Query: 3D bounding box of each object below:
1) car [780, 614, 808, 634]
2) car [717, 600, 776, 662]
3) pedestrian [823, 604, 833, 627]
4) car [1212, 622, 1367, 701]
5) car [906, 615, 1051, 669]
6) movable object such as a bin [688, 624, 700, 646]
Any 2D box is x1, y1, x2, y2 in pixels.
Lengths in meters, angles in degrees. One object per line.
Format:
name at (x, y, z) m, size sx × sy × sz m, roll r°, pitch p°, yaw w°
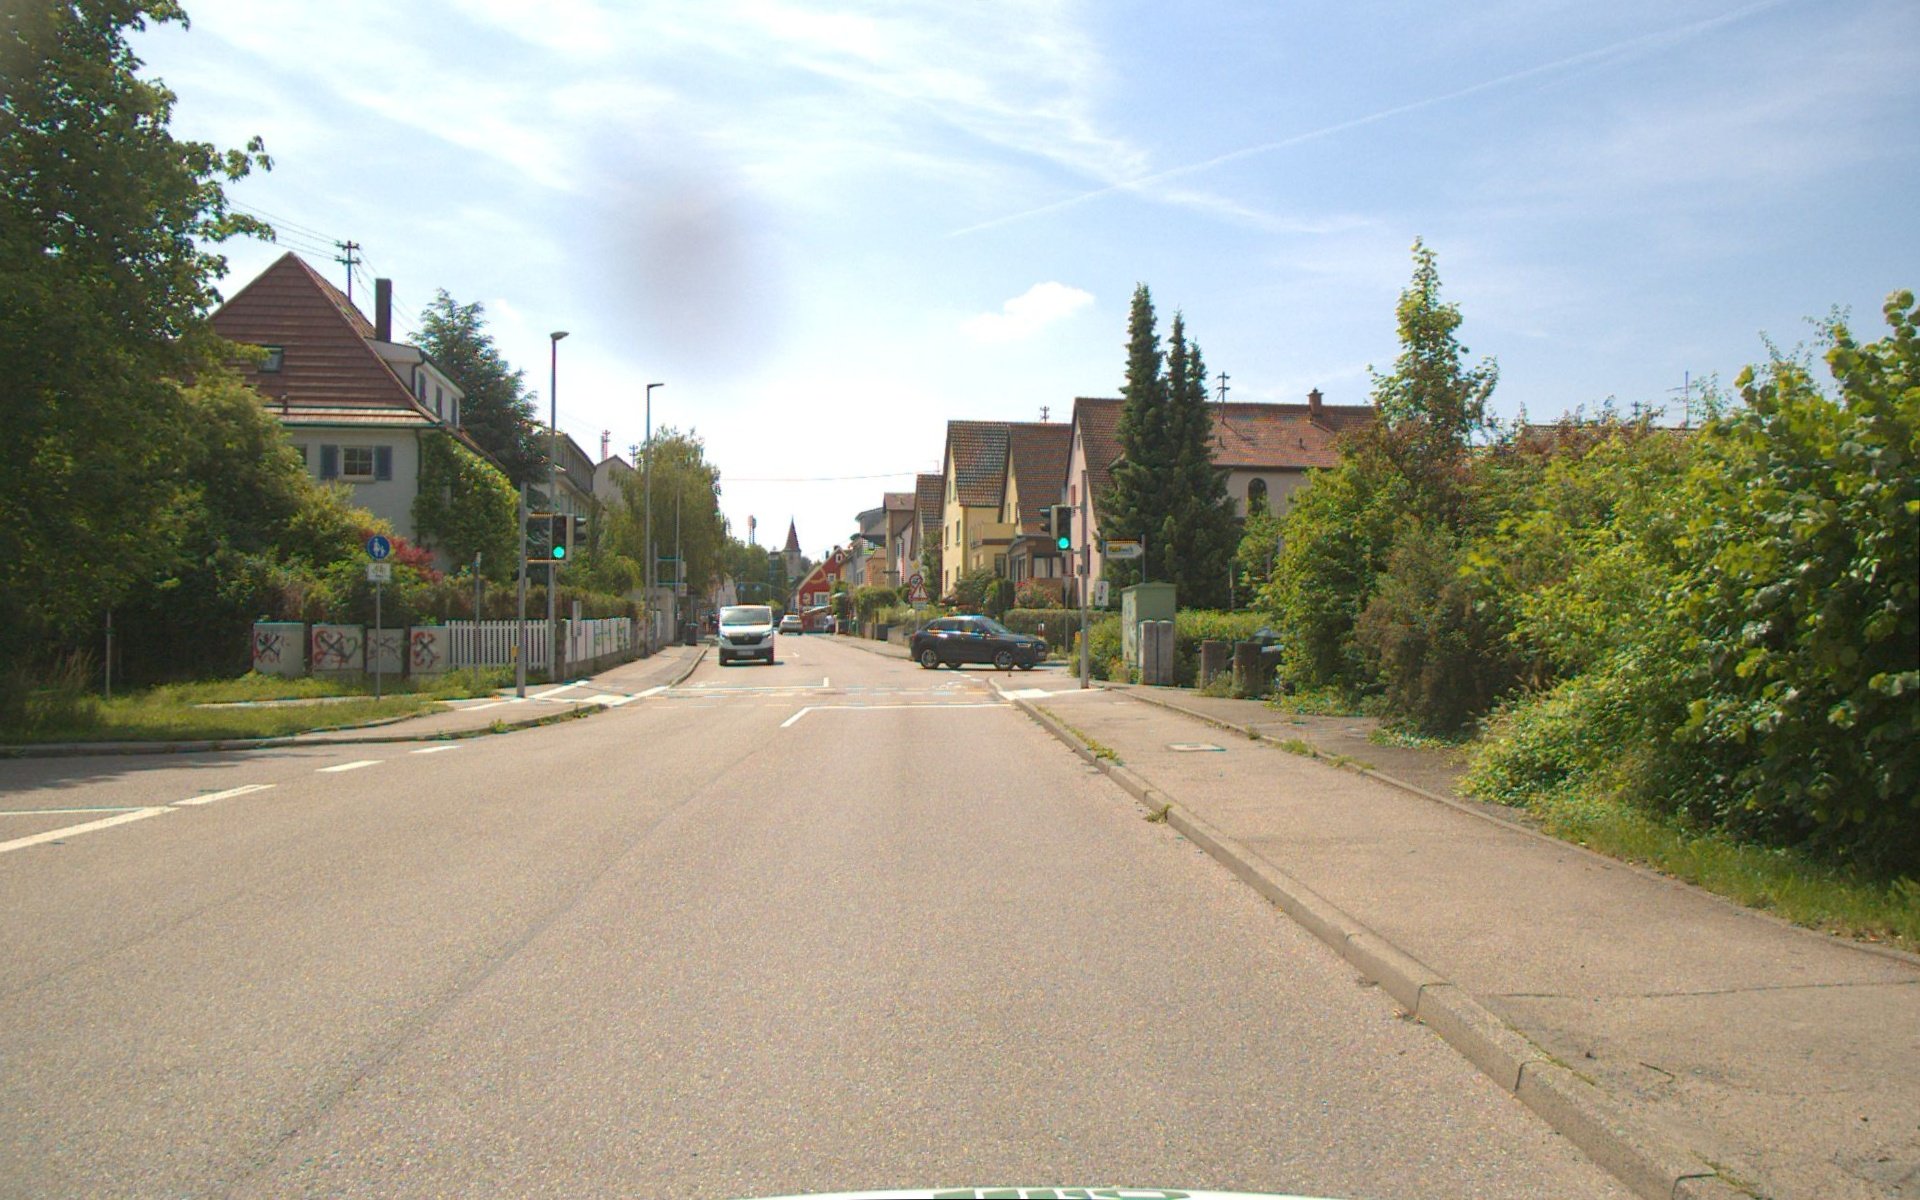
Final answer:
car at (-13.686, 1.987, 136.003) m, size 1.958 × 1.588 × 4.302 m, roll 0°, pitch -1°, yaw -11°
car at (-7.351, 1.068, 56.733) m, size 1.844 × 1.999 × 4.893 m, roll -2°, pitch -1°, yaw -8°
pedestrian at (-10.290, 1.237, 129.007) m, size 0.634 × 1.760 × 0.607 m, roll -2°, pitch 0°, yaw -8°
car at (7.033, 1.360, 35.669) m, size 1.681 × 1.579 × 4.048 m, roll 2°, pitch -3°, yaw -15°
car at (0.556, 1.247, 50.584) m, size 4.206 × 1.568 × 1.538 m, roll 0°, pitch 0°, yaw 26°
movable object such as a bin at (-13.421, 1.769, 83.458) m, size 0.596 × 1.064 × 0.724 m, roll 1°, pitch 1°, yaw -8°
